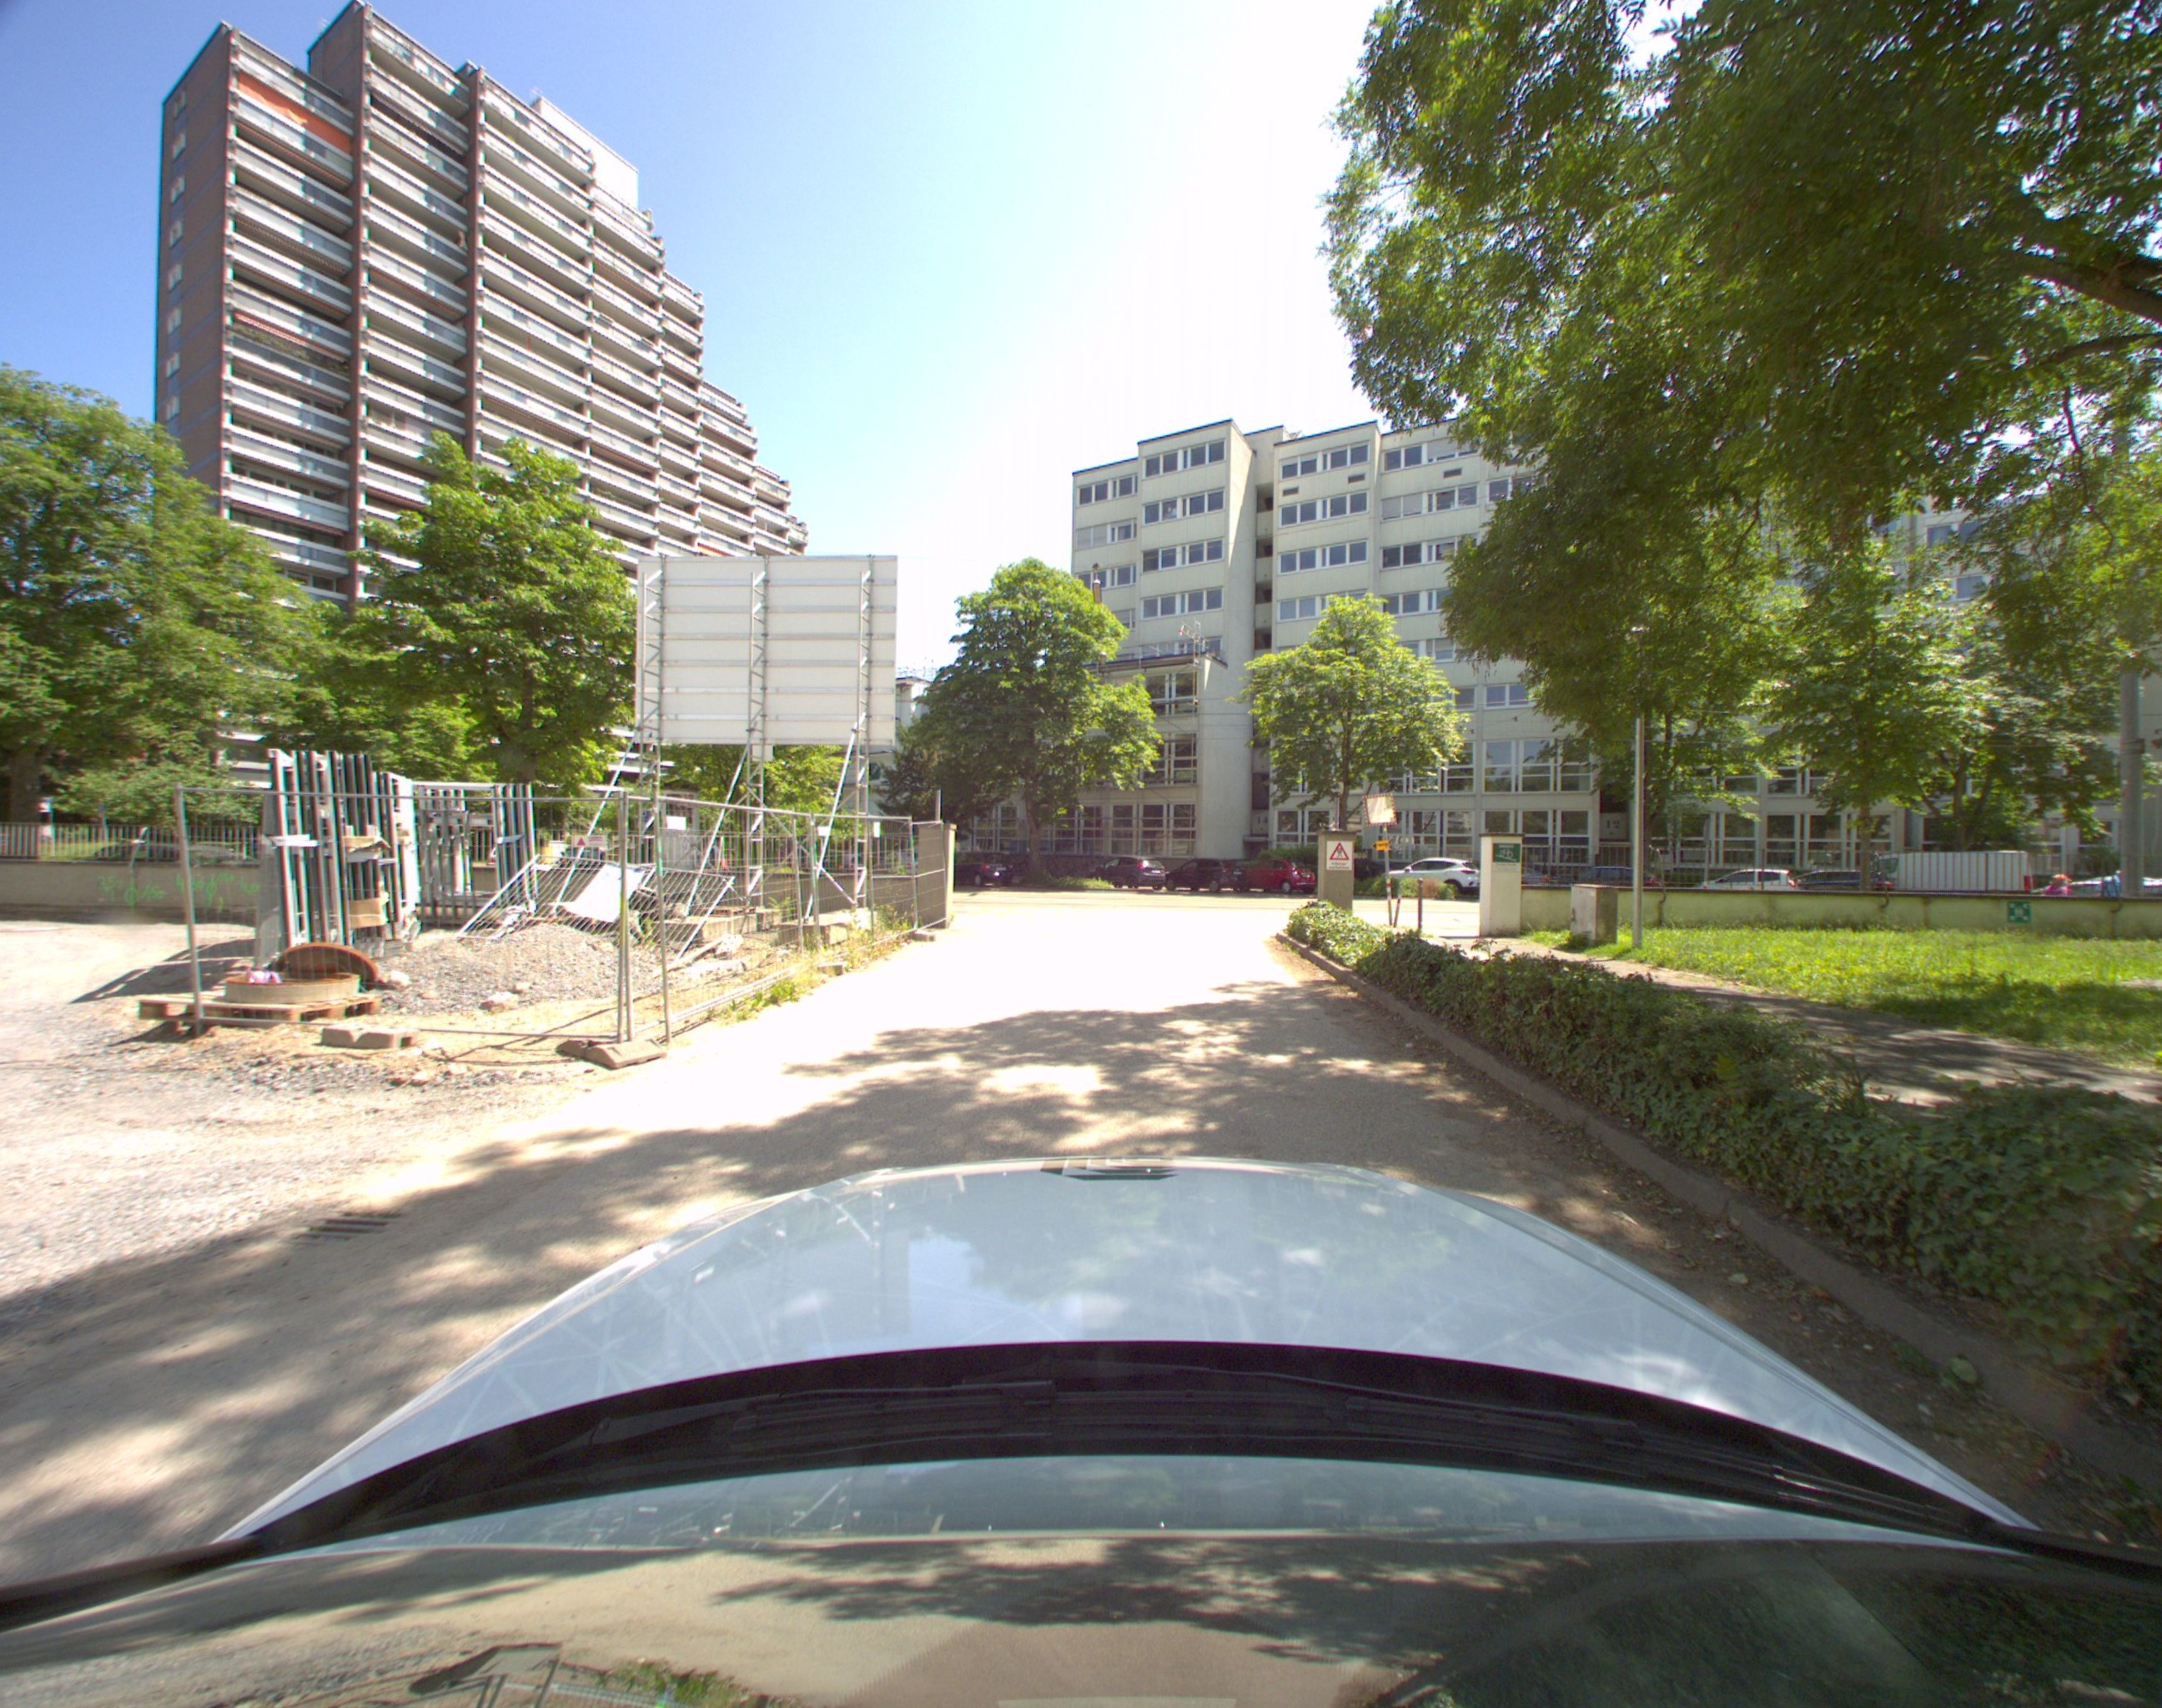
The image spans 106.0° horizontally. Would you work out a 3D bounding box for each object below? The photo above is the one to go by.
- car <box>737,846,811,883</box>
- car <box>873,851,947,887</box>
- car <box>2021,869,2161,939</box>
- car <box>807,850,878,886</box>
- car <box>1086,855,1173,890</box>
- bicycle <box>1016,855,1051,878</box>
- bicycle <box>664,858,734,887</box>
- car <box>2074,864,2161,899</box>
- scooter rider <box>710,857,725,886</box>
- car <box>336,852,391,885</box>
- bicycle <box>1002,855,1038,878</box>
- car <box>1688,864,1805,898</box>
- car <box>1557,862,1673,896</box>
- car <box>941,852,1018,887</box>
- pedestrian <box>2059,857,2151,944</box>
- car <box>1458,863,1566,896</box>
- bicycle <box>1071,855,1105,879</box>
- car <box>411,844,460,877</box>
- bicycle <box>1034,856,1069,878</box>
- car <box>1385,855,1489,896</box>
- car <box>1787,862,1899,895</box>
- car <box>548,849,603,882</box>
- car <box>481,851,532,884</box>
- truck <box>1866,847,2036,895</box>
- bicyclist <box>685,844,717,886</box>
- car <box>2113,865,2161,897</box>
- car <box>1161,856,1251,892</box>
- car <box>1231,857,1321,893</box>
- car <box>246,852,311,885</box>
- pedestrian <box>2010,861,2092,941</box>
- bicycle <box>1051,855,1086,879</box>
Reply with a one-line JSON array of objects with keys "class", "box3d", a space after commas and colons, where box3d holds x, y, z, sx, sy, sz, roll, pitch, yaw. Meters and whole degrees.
[{"class": "car", "box3d": [-13.182, 0.423, 34.858, 1.648, 1.464, 3.632, 0, 0, -44]}, {"class": "car", "box3d": [-7.542, 0.623, 35.680, 1.647, 1.464, 3.635, 0, 0, -40]}, {"class": "car", "box3d": [24.063, 1.091, 18.261, 3.908, 1.464, 1.708, 0, 0, 3]}, {"class": "car", "box3d": [-10.397, 0.587, 35.438, 1.647, 1.464, 3.635, 0, 0, -40]}, {"class": "car", "box3d": [2.067, 0.771, 35.458, 1.654, 1.464, 3.632, 0, 0, -45]}, {"class": "bicycle", "box3d": [-2.492, 0.649, 43.275, 0.773, 1.157, 2.398, 0, 0, 27]}, {"class": "bicycle", "box3d": [-15.280, 0.736, 32.609, 2.425, 1.152, 0.786, 0, 0, -2]}, {"class": "car", "box3d": [41.837, 1.078, 32.084, 1.504, 1.291, 3.306, 0, 0, -34]}, {"class": "scooter rider", "box3d": [-14.158, 0.665, 31.761, 0.415, 1.134, 0.359, 0, 0, -1]}, {"class": "car", "box3d": [-31.567, 0.590, 35.914, 1.646, 1.387, 3.636, 0, 0, -39]}, {"class": "bicycle", "box3d": [-3.239, 0.653, 43.634, 0.773, 1.157, 2.398, 0, 0, 27]}, {"class": "car", "box3d": [27.941, 1.106, 34.265, 3.698, 1.291, 1.622, 0, 0, 43]}, {"class": "car", "box3d": [21.989, 0.999, 33.657, 1.620, 1.305, 3.702, 0, 0, -38]}, {"class": "car", "box3d": [-4.481, 0.639, 35.551, 1.647, 1.464, 3.635, 0, 0, -40]}, {"class": "pedestrian", "box3d": [19.302, 0.861, 15.370, 0.727, 1.590, 0.741, 0, -2, 4]}, {"class": "car", "box3d": [18.134, 1.021, 34.385, 1.620, 1.281, 3.702, 0, 0, -38]}, {"class": "bicycle", "box3d": [0.382, 0.654, 42.012, 0.773, 1.188, 2.446, 0, 0, 27]}, {"class": "car", "box3d": [-29.084, 0.278, 36.722, 1.646, 1.387, 3.636, 0, 0, -39]}, {"class": "bicycle", "box3d": [-1.555, 0.662, 42.876, 0.773, 1.157, 2.398, 0, 0, 27]}, {"class": "car", "box3d": [15.032, 0.872, 34.526, 1.621, 1.620, 3.699, 0, 0, -44]}, {"class": "car", "box3d": [31.496, 0.974, 33.714, 1.543, 1.291, 3.323, 0, 0, -45]}, {"class": "car", "box3d": [-22.377, 0.475, 36.012, 1.646, 1.387, 3.636, 0, 0, -39]}, {"class": "car", "box3d": [-25.727, 0.575, 36.421, 1.646, 1.387, 3.636, 0, 0, -39]}, {"class": "truck", "box3d": [35.038, 0.664, 32.991, 1.665, 1.833, 4.587, 1, -1, -44]}, {"class": "bicyclist", "box3d": [-15.204, 0.434, 32.609, 0.895, 1.665, 0.858, 0, 0, -1]}, {"class": "car", "box3d": [44.607, 1.111, 32.966, 1.502, 1.291, 3.309, 0, 0, -29]}, {"class": "car", "box3d": [5.330, 0.835, 35.089, 1.621, 1.445, 3.634, 0, 0, -42]}, {"class": "car", "box3d": [8.369, 0.861, 35.153, 1.620, 1.437, 3.562, 0, 0, -38]}, {"class": "car", "box3d": [-35.459, 0.593, 36.054, 1.646, 1.387, 3.636, 0, 0, -39]}, {"class": "pedestrian", "box3d": [19.701, 0.944, 16.555, 0.727, 1.590, 0.742, 0, -2, 6]}, {"class": "bicycle", "box3d": [-0.650, 0.650, 42.456, 0.773, 1.188, 2.446, 0, 0, 27]}]
